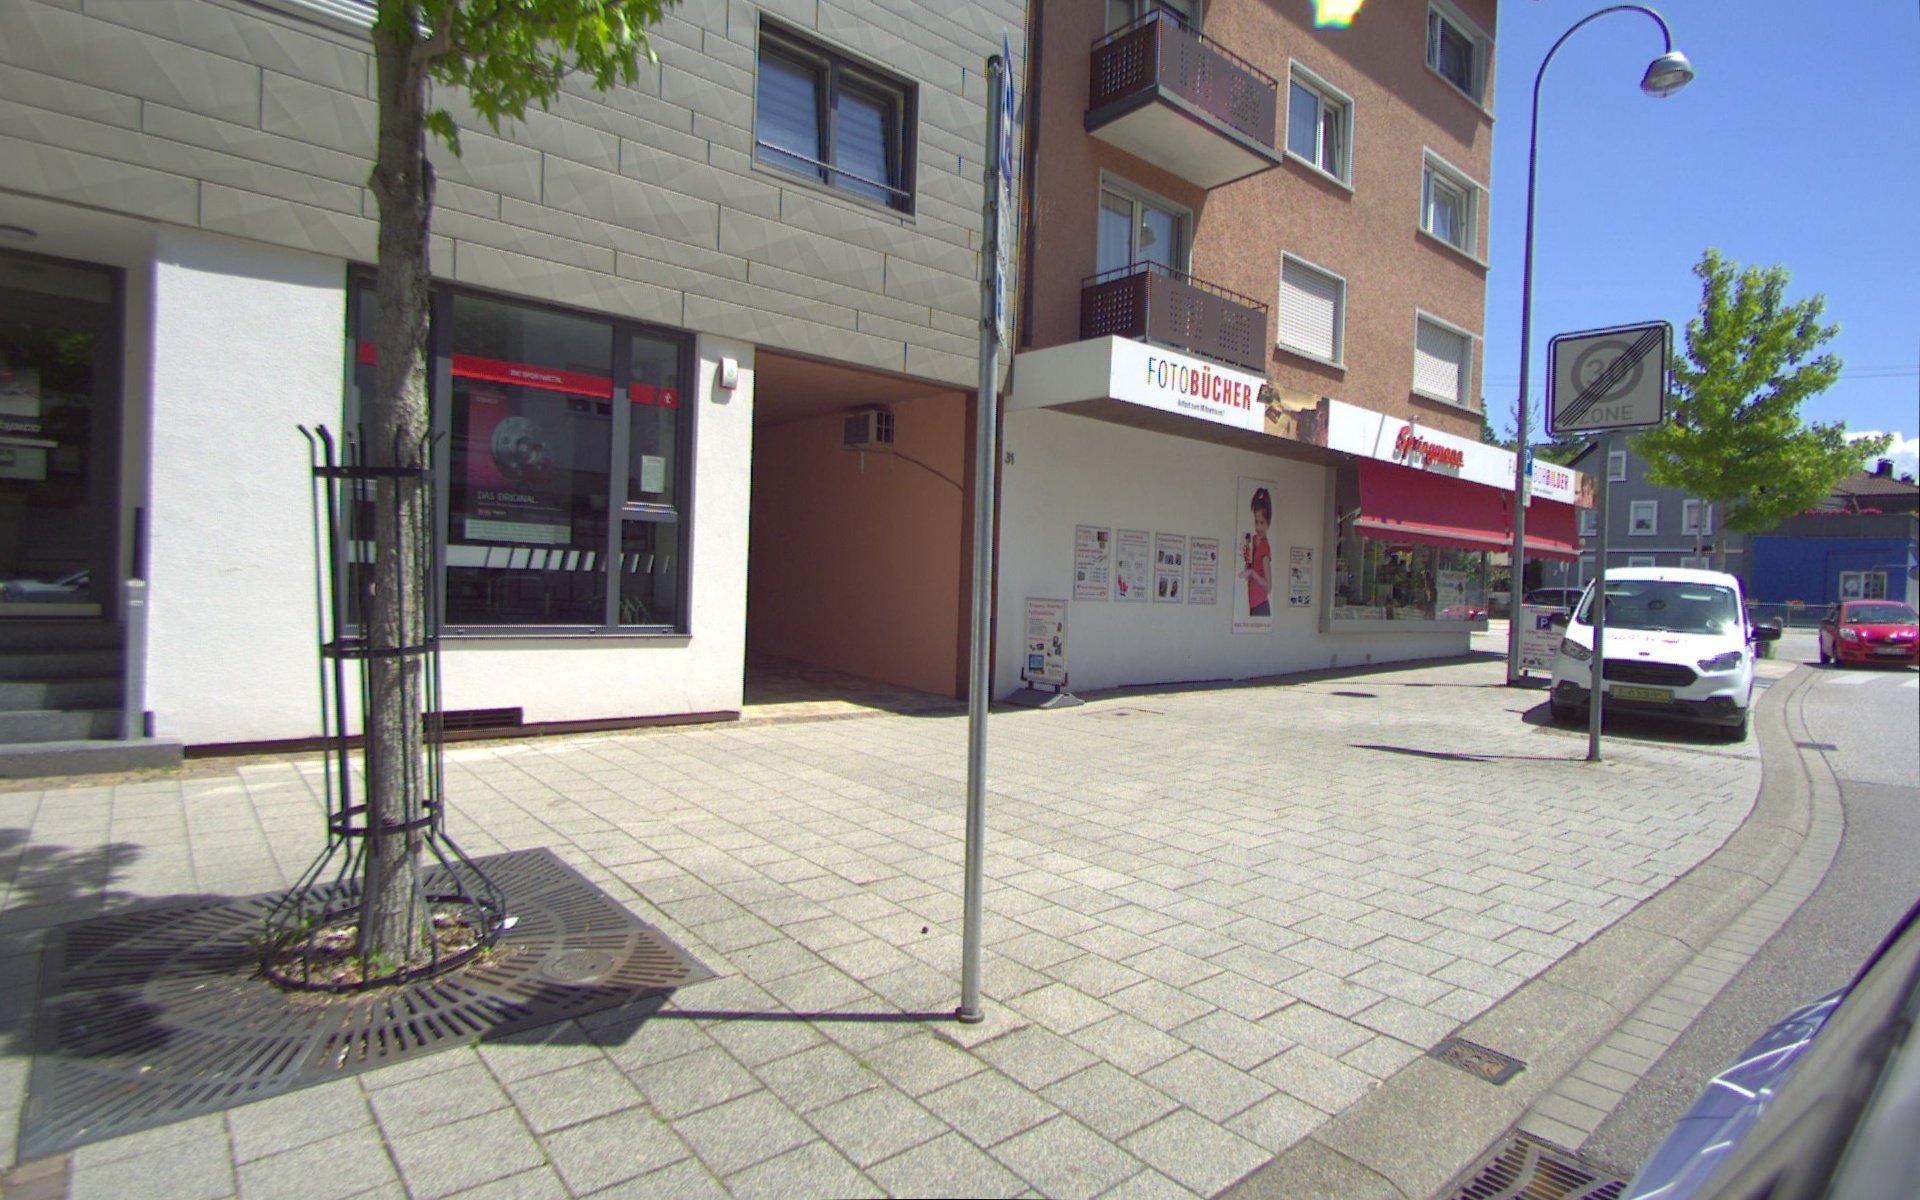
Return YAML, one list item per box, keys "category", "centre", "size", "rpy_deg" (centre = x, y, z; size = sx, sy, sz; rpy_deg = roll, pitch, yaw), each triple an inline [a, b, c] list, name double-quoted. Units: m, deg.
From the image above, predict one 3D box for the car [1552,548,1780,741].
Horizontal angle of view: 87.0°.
- category: "car"
  centre: [7.946, 0.359, 11.243]
  size: [1.745, 1.745, 3.854]
  rpy_deg: [3, 2, 39]

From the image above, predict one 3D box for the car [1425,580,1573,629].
- category: "car"
  centre: [20.218, 0.141, 38.110]
  size: [1.965, 1.709, 4.519]
  rpy_deg: [-1, 1, -41]

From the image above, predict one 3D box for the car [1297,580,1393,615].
- category: "car"
  centre: [19.694, -0.126, 51.829]
  size: [4.258, 1.603, 1.977]
  rpy_deg: [0, 4, 35]

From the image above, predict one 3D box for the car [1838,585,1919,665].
- category: "car"
  centre: [21.101, 0.515, 22.759]
  size: [1.828, 1.552, 3.938]
  rpy_deg: [-3, 1, 44]
